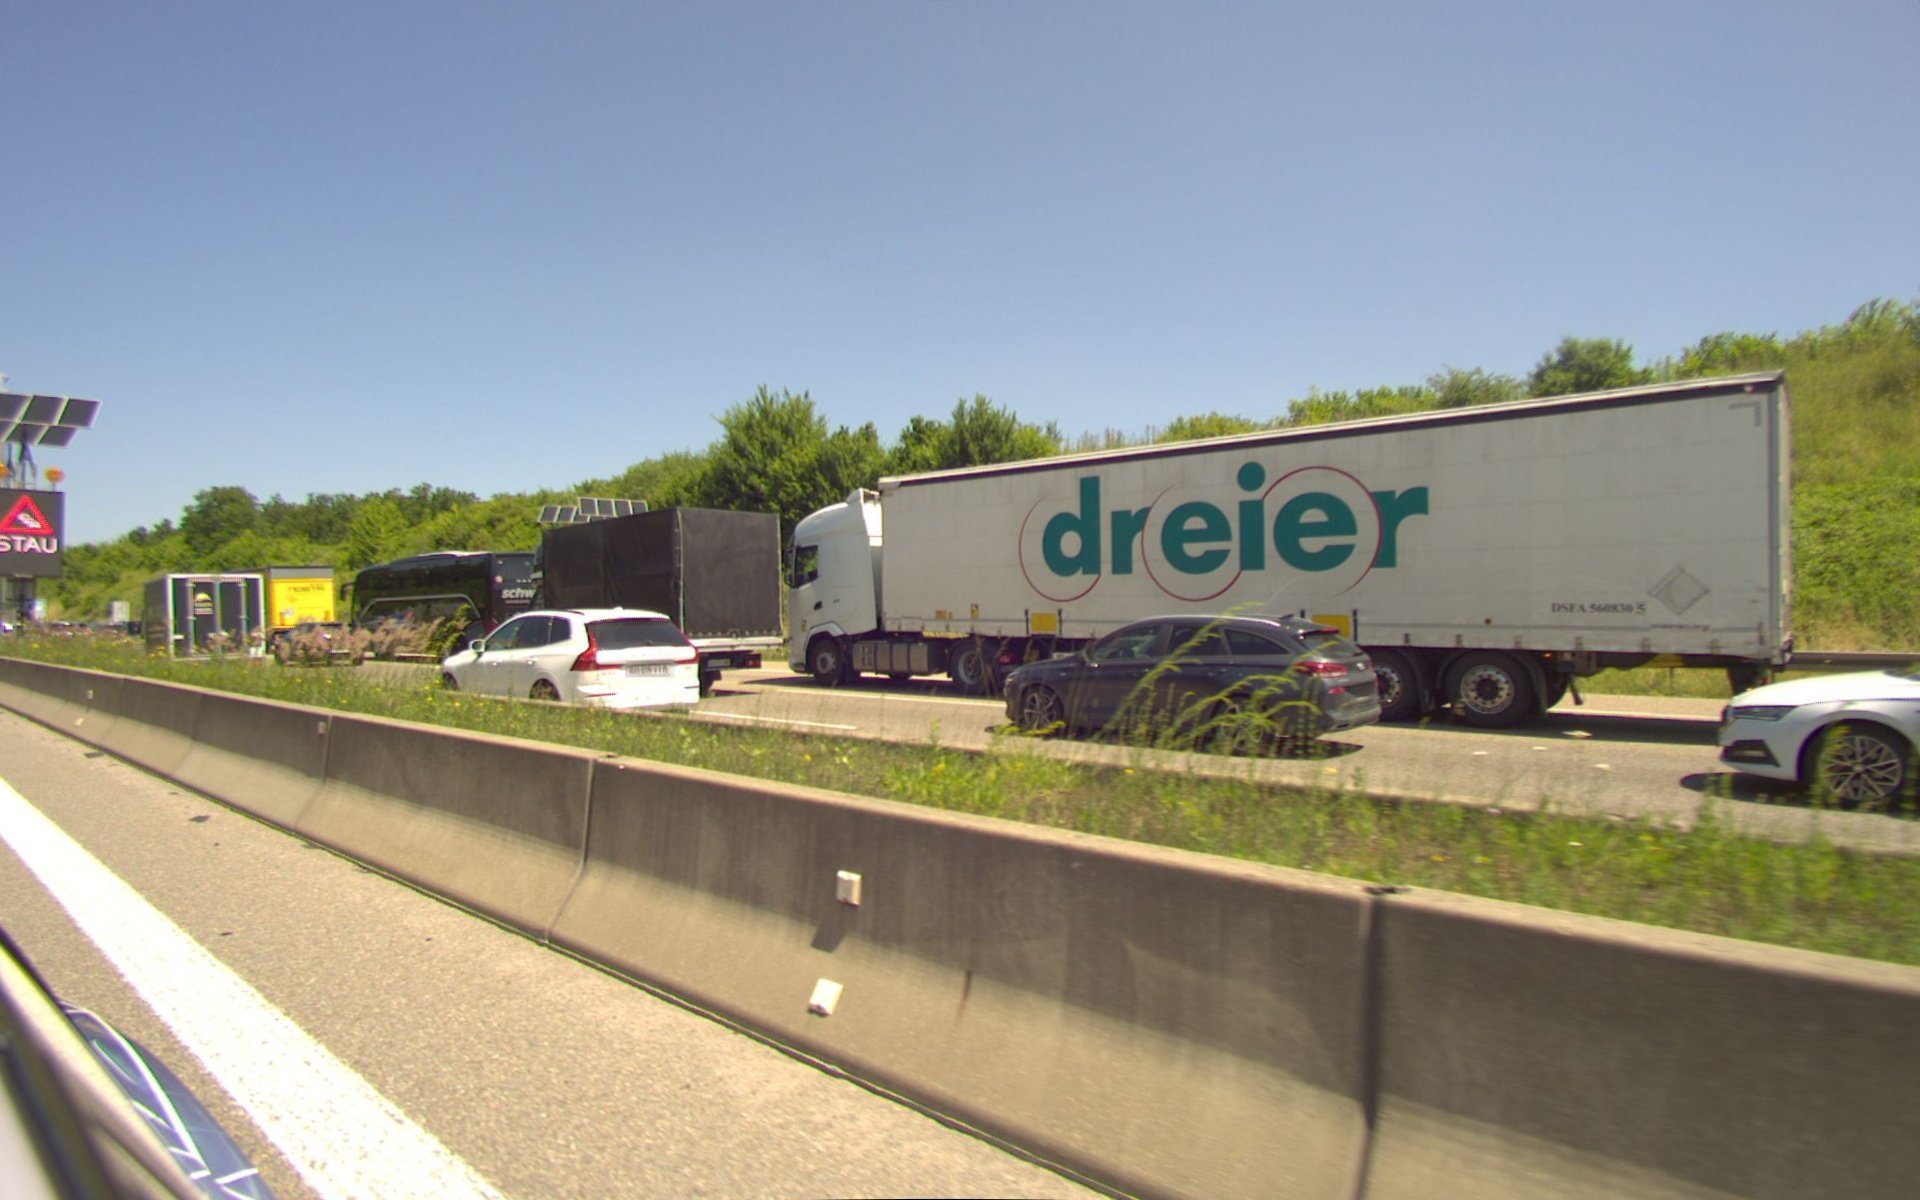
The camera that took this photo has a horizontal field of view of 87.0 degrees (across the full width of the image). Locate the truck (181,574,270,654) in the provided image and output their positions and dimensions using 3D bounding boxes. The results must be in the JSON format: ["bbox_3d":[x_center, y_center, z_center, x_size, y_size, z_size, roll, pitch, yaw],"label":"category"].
[{"bbox_3d":[-40.154,0.742,55.264,6.130,4.095,2.575,-1,0,41],"label":"truck"}]

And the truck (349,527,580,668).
[{"bbox_3d":[-17.660,-0.029,35.439,11.481,4.253,3.024,-1,0,41],"label":"truck"}]

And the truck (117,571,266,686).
[{"bbox_3d":[-21.334,0.732,27.975,6.209,2.863,2.098,-1,0,41],"label":"truck"}]

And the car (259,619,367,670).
[{"bbox_3d":[-21.518,1.424,33.576,4.758,1.560,1.756,-1,-2,41],"label":"car"}]

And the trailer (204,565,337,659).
[{"bbox_3d":[-34.336,0.602,50.123,11.851,4.175,2.622,-1,0,42],"label":"trailer"}]

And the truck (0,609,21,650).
[{"bbox_3d":[-103.266,3.157,108.802,5.626,4.235,2.790,-1,0,41],"label":"truck"}]

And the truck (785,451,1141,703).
[{"bbox_3d":[-0.184,-0.320,20.027,7.027,4.145,2.752,-1,-1,42],"label":"truck"}]

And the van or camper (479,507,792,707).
[{"bbox_3d":[-6.932,0.146,20.754,7.942,3.385,2.502,-1,0,43],"label":"van or camper"}]

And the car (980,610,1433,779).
[{"bbox_3d":[2.654,0.916,11.748,4.827,1.548,1.793,-1,0,41],"label":"car"}]

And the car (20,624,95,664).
[{"bbox_3d":[-38.569,1.841,43.207,5.028,1.524,1.793,-1,0,41],"label":"car"}]

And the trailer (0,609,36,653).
[{"bbox_3d":[-97.748,3.109,103.957,12.780,4.294,2.813,-1,0,41],"label":"trailer"}]

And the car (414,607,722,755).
[{"bbox_3d":[-5.475,0.948,13.740,5.028,1.646,1.793,-1,0,41],"label":"car"}]

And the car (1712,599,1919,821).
[{"bbox_3d":[8.367,0.759,6.967,4.996,1.555,1.793,-1,0,41],"label":"car"}]

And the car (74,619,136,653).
[{"bbox_3d":[-48.426,1.987,57.255,5.899,1.765,1.843,-1,0,41],"label":"car"}]

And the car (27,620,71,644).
[{"bbox_3d":[-65.980,2.288,73.282,5.379,1.641,1.793,-1,0,41],"label":"car"}]

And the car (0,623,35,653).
[{"bbox_3d":[-52.801,2.085,56.032,5.028,1.524,1.793,-1,0,41],"label":"car"}]

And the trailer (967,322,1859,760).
[{"bbox_3d":[5.387,-0.508,14.955,11.706,4.338,2.752,-1,-1,42],"label":"trailer"}]
